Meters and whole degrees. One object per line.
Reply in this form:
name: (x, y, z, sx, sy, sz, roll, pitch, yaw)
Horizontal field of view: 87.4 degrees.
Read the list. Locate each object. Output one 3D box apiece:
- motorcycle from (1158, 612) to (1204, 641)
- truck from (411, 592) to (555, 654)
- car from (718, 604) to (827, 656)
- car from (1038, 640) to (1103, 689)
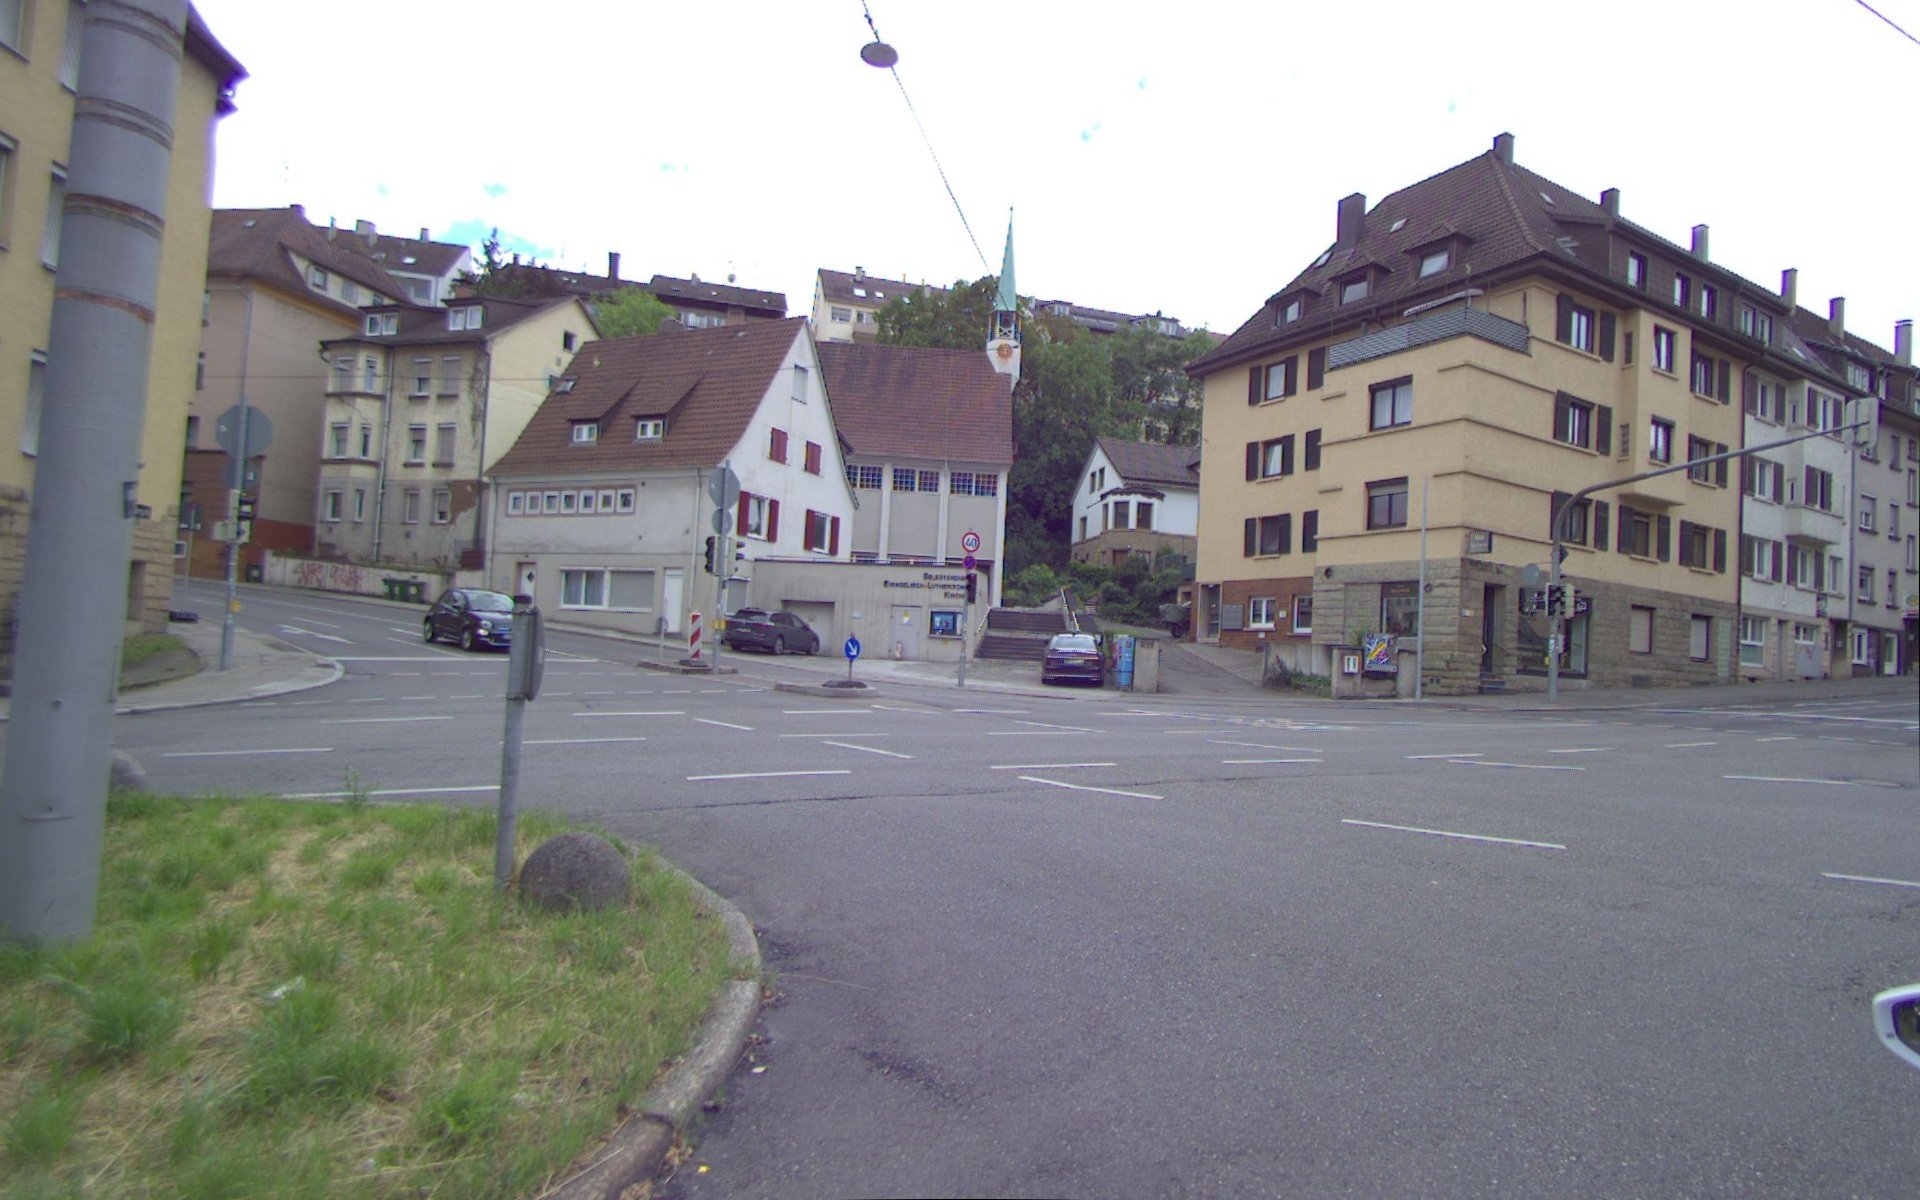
motorcycle: (9.485, 1.141, 43.076, 2.021, 1.149, 0.556, 3, 0, -29)
truck: (-12.394, 0.565, 26.021, 3.939, 1.437, 1.844, 1, -1, 39)
car: (-6.351, 1.021, 34.524, 1.649, 1.485, 4.301, 6, 0, 19)
car: (3.337, 1.939, 30.781, 1.799, 1.205, 4.002, 3, -1, 5)
